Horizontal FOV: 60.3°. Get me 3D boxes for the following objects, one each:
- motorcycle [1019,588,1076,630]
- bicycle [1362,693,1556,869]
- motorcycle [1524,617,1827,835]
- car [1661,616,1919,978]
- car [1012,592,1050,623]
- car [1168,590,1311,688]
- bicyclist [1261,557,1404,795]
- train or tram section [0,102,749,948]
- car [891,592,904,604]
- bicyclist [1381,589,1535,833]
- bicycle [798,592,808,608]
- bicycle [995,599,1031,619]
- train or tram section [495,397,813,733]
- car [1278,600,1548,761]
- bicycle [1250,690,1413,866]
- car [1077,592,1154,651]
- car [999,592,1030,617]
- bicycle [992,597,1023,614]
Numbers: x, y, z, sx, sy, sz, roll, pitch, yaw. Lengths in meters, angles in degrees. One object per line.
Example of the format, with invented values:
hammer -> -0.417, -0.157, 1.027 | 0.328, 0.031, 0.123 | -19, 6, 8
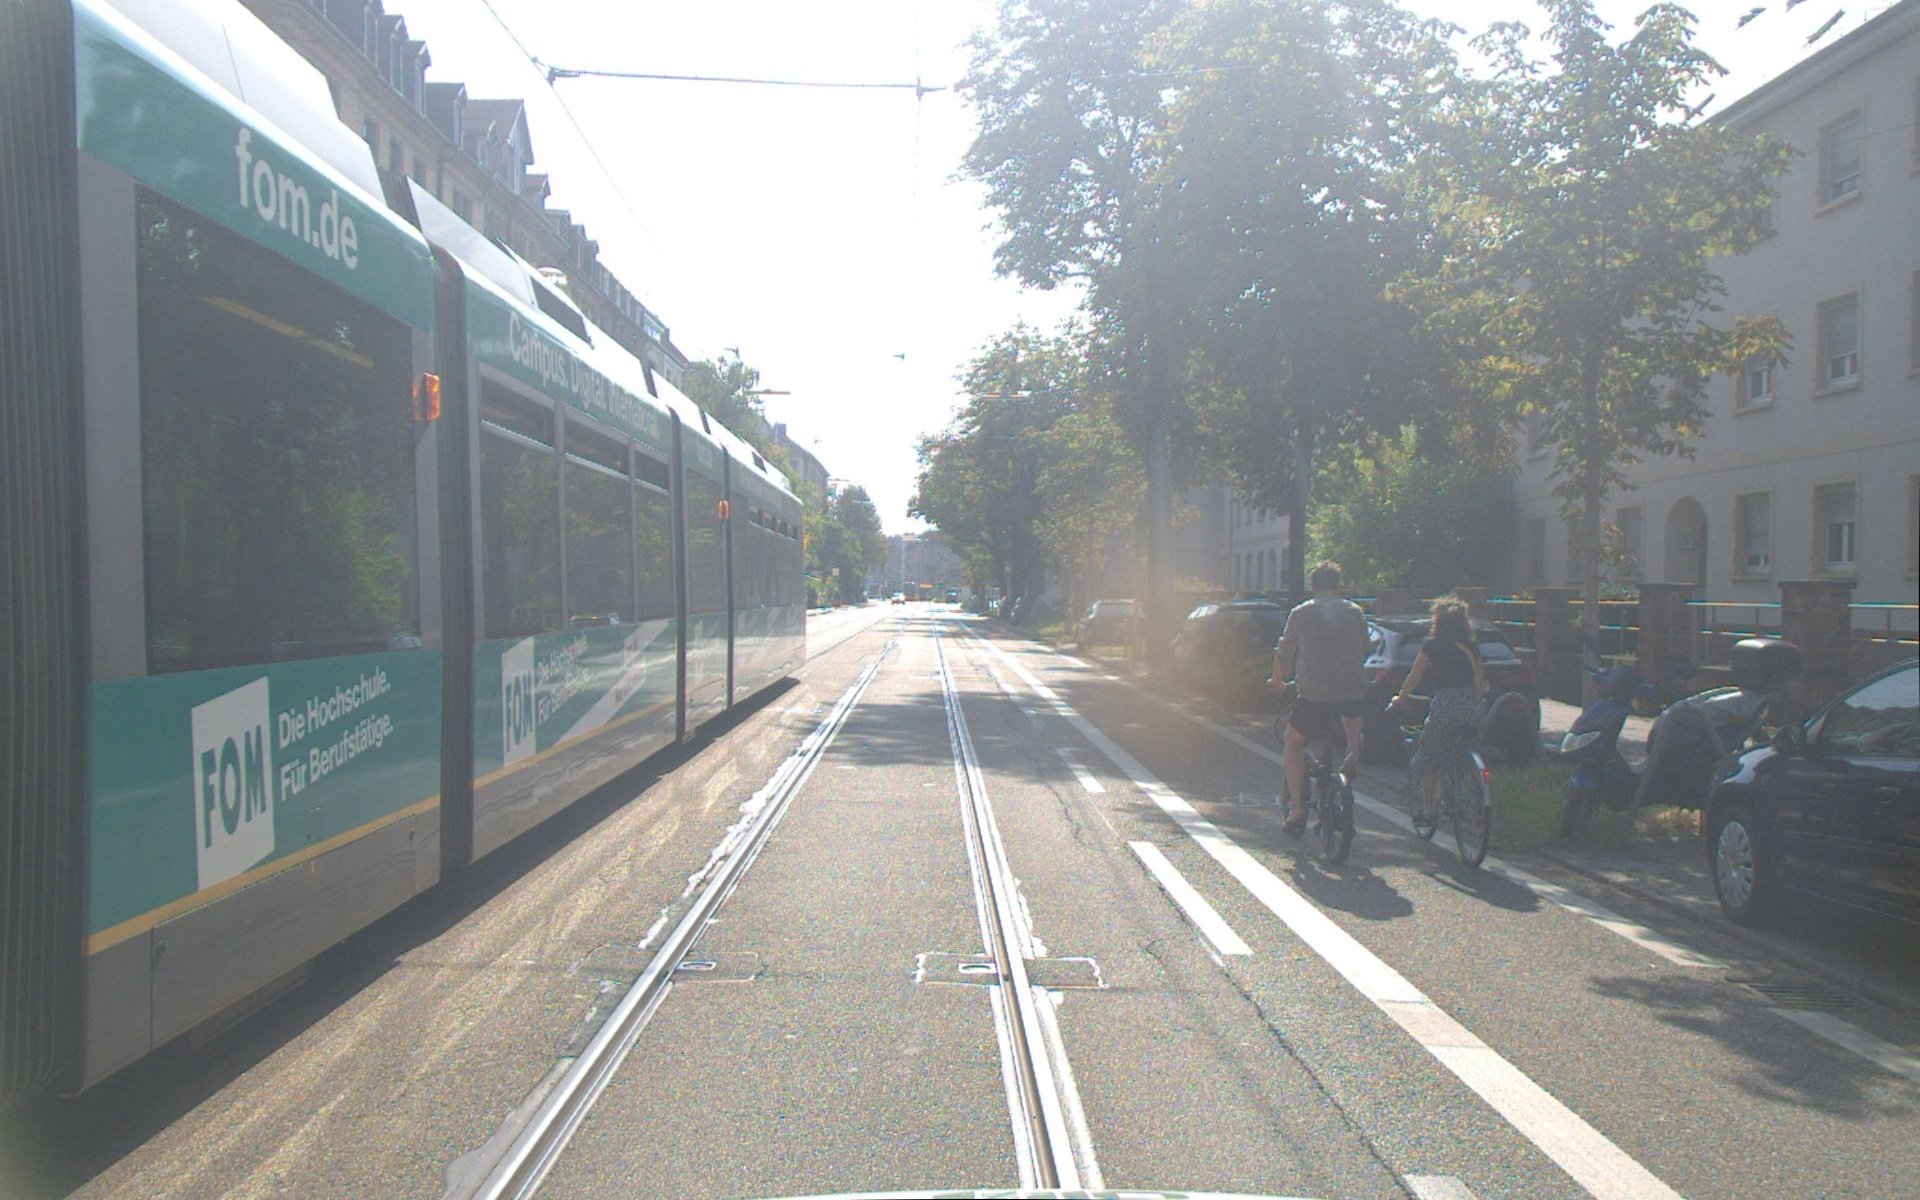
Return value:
motorcycle -> 3.697, 0.374, 69.861 | 2.378, 1.703, 0.908 | -1, 1, 44
bicycle -> 3.211, 1.135, 10.810 | 0.641, 0.924, 1.774 | 3, 0, -2
motorcycle -> 4.973, 0.857, 11.550 | 1.818, 1.311, 0.705 | -3, 5, -4
car -> 4.842, 0.846, 7.322 | 1.612, 1.473, 4.245 | -1, 0, -1
car -> 3.648, 0.377, 85.691 | 1.692, 1.531, 3.983 | -1, 0, -1
car -> 4.727, 0.627, 28.493 | 1.655, 1.528, 4.094 | -1, 0, -2
bicyclist -> 2.355, 0.462, 10.542 | 0.614, 1.425, 0.929 | 3, 0, -2
train or tram section -> -3.506, -0.356, 12.449 | 2.679, 3.567, 10.772 | 1, 0, -2
car -> -8.488, -0.280, 224.798 | 1.691, 1.666, 3.983 | 1, 0, -1
bicyclist -> 3.230, 0.694, 10.795 | 0.641, 1.499, 0.908 | 3, 0, -2
bicycle -> -12.629, -0.024, 133.414 | 0.549, 1.242, 2.114 | 1, 0, 1
bicycle -> 3.168, 0.545, 99.019 | 2.067, 1.125, 0.562 | 1, 0, -9
train or tram section -> -3.779, -0.411, 23.233 | 2.679, 3.567, 10.772 | 1, 0, -2
car -> 4.822, 0.782, 18.239 | 1.655, 1.460, 4.335 | -2, 0, -2
bicycle -> 2.331, 1.091, 10.531 | 0.614, 0.924, 1.524 | 3, 0, -2
car -> 4.372, 0.573, 47.189 | 1.708, 1.588, 4.718 | 0, 0, -1
car -> 3.340, 0.301, 102.711 | 1.736, 1.499, 3.973 | 0, -1, -1
bicycle -> 3.243, 0.350, 113.187 | 2.064, 1.125, 0.615 | -1, 0, -2
